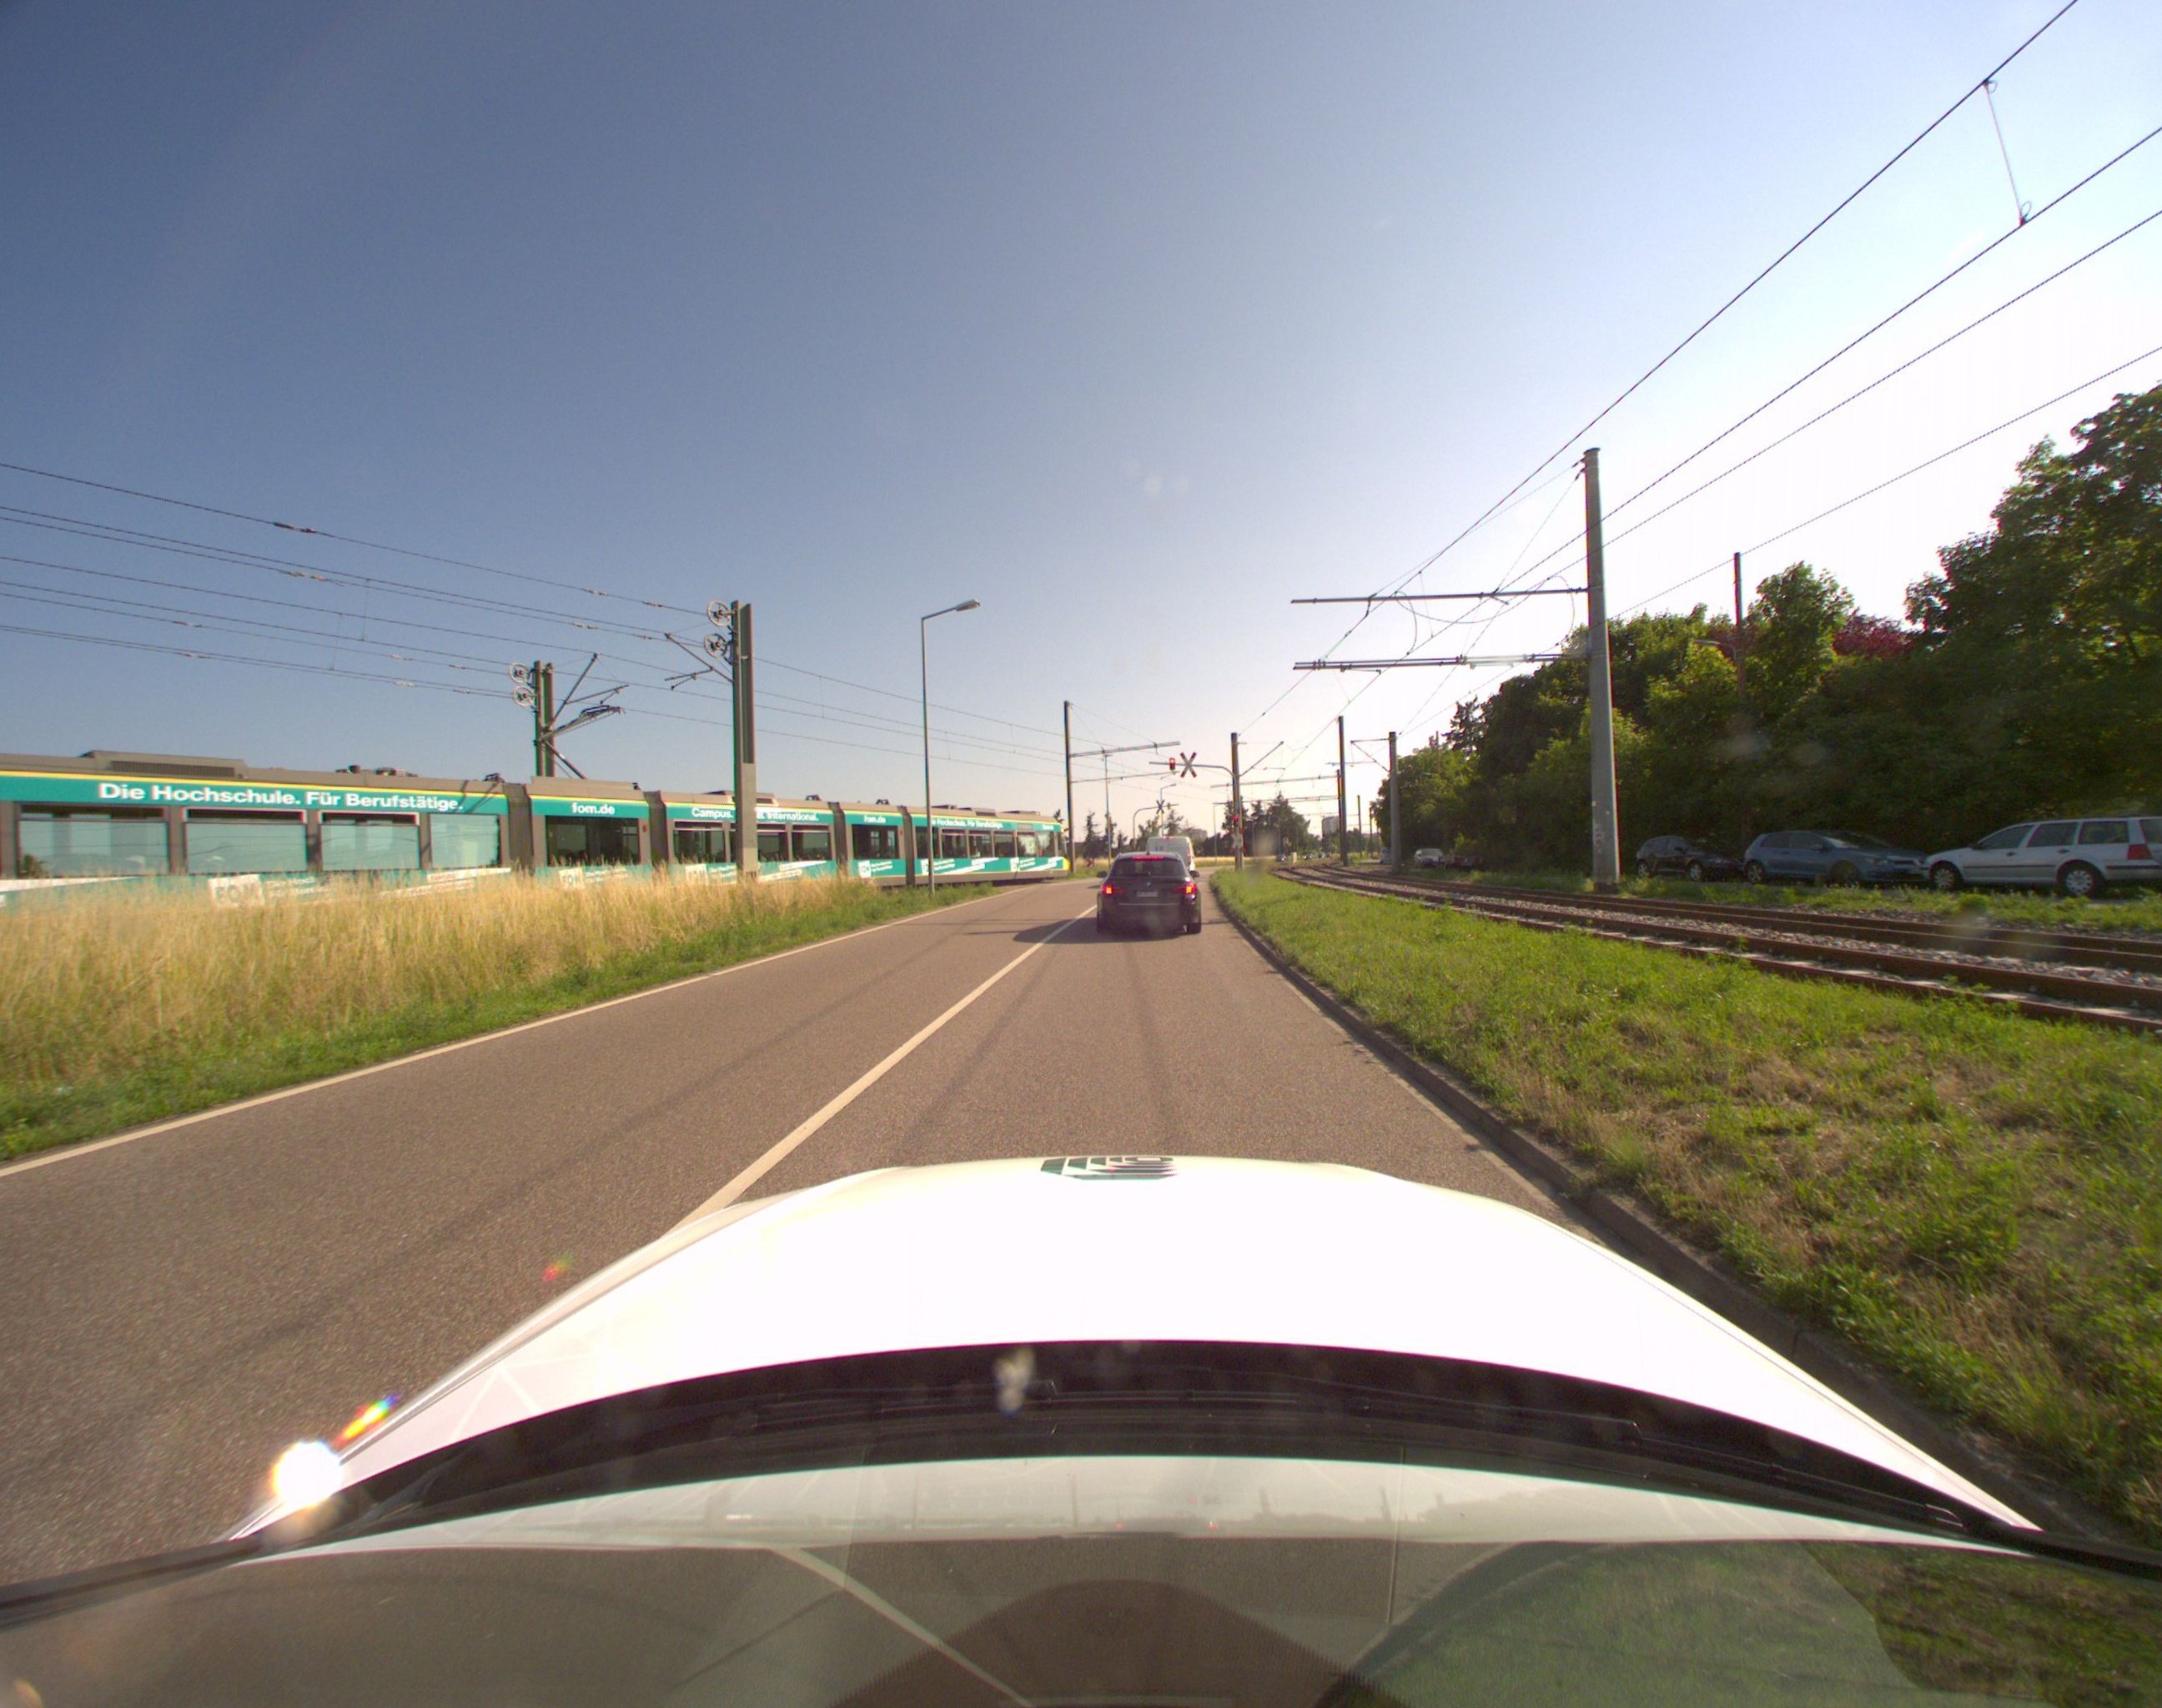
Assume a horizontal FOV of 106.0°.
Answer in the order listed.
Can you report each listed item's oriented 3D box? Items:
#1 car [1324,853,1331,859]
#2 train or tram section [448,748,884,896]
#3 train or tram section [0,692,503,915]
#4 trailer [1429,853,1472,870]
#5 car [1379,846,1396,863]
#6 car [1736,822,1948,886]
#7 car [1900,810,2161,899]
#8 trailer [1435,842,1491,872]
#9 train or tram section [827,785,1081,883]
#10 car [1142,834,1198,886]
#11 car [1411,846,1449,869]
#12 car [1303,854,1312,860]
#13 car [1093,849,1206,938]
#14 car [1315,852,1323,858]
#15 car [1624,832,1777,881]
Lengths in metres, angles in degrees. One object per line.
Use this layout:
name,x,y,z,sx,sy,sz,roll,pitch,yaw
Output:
car,73.738,0.565,243.693,1.697,1.549,3.950,-1,0,23
train or tram section,-11.455,-0.676,24.908,2.889,3.454,12.240,-1,-1,30
train or tram section,-17.713,-0.781,14.261,2.922,3.484,12.241,-1,0,31
trailer,22.845,0.456,50.475,1.719,0.939,3.741,1,0,13
car,38.437,0.040,102.031,1.977,2.004,5.093,1,0,21
car,18.820,0.018,20.427,1.479,1.401,4.151,-2,0,1
car,18.692,-0.025,15.692,1.700,1.465,4.398,-2,0,7
trailer,21.756,0.149,46.559,2.013,1.596,4.274,1,0,12
train or tram section,-4.815,-0.552,36.489,2.879,3.569,14.347,-1,-2,30
car,3.817,0.232,34.070,1.845,1.988,5.124,-1,0,11
car,23.585,0.207,55.206,1.686,1.456,4.900,1,1,15
car,54.447,0.783,195.454,1.678,1.439,4.306,-1,0,21
car,1.354,0.650,16.004,1.860,1.452,4.751,-1,0,5
car,65.796,0.303,225.077,1.691,1.665,4.614,-1,0,22
car,19.208,0.084,25.549,1.615,1.410,4.526,0,0,4
